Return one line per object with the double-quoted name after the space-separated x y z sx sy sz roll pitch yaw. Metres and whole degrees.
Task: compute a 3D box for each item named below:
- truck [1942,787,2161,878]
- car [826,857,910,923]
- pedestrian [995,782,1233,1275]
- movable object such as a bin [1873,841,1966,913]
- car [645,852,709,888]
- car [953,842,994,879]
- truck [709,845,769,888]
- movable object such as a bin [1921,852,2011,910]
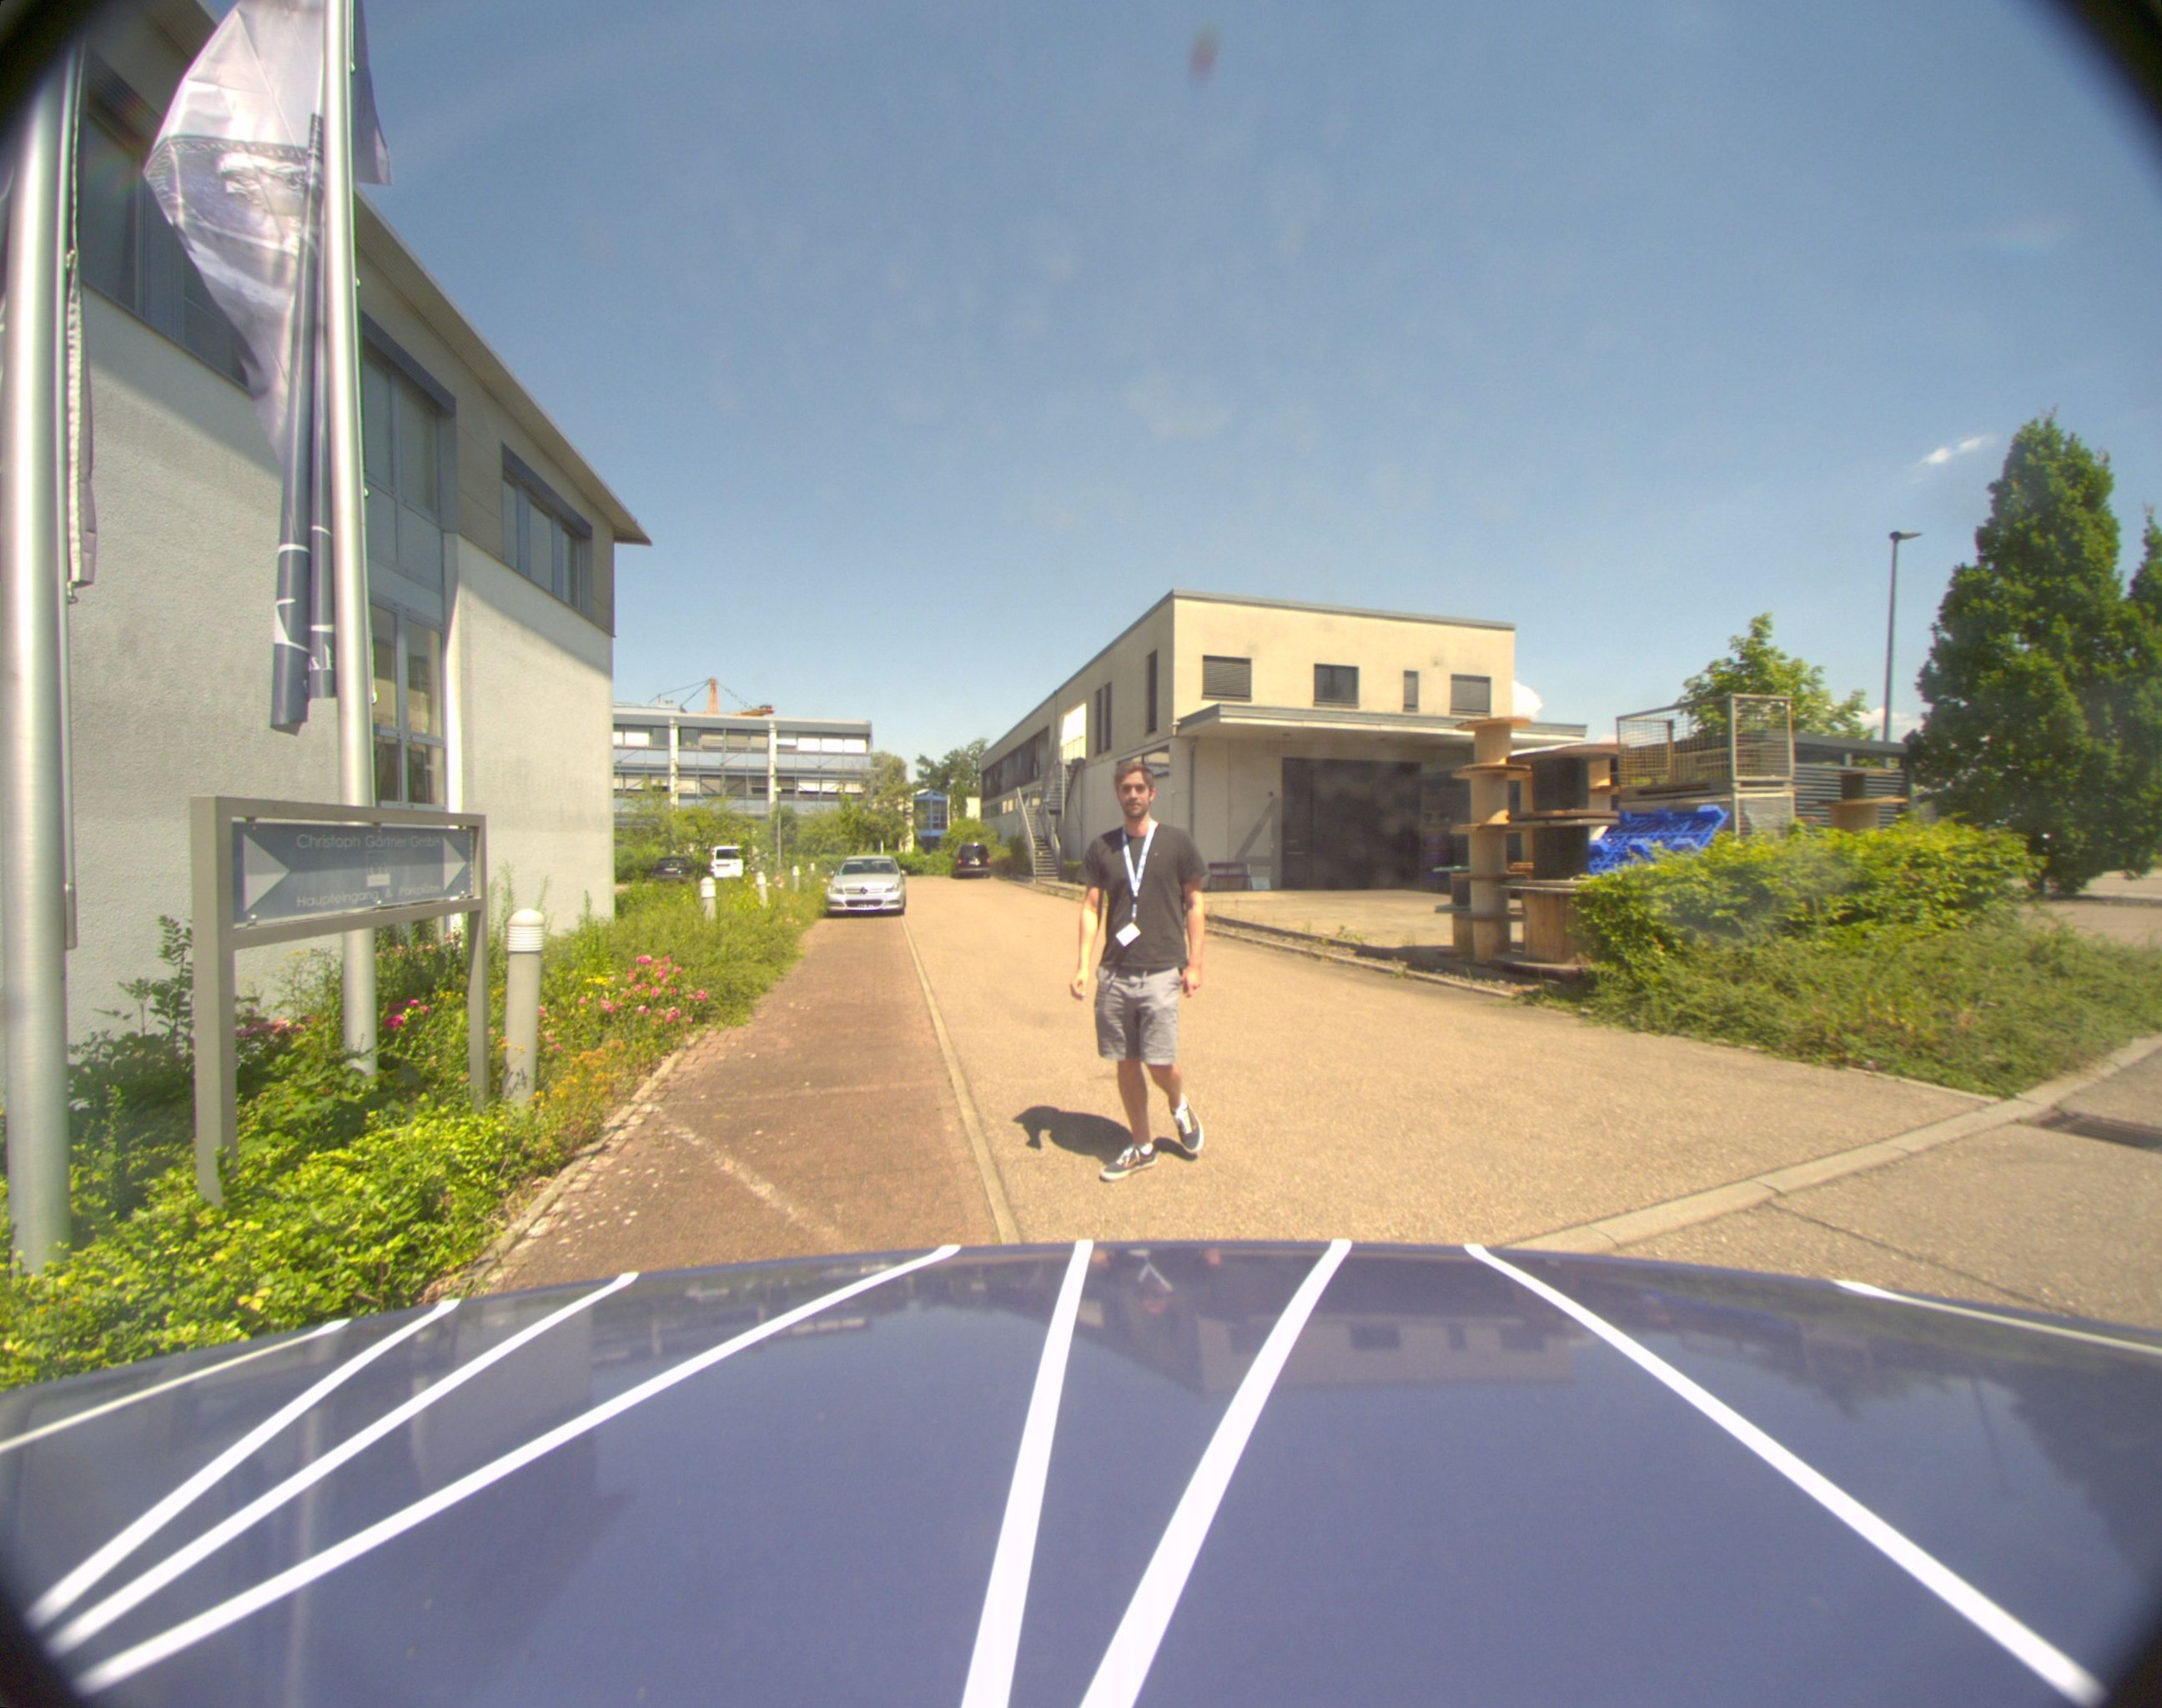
31.052 -0.713 24.257 5.700 2.656 2.415 -2 1 -15 "truck"
-5.216 0.814 18.985 1.713 1.383 3.806 -1 1 -11 "car"
0.203 0.642 3.299 0.859 1.809 0.905 -1 1 11 "pedestrian"
16.261 0.432 14.748 1.073 1.329 0.759 -2 1 -10 "movable object such as a bin"
-19.200 0.704 36.278 1.789 1.537 3.994 -2 2 -14 "car"
-5.730 0.290 40.114 1.789 1.793 3.994 -2 2 -13 "car"
-16.281 0.521 36.350 2.001 1.883 3.994 -2 1 -16 "truck"
17.359 0.517 14.916 0.988 1.078 0.759 -1 1 -10 "movable object such as a bin"
